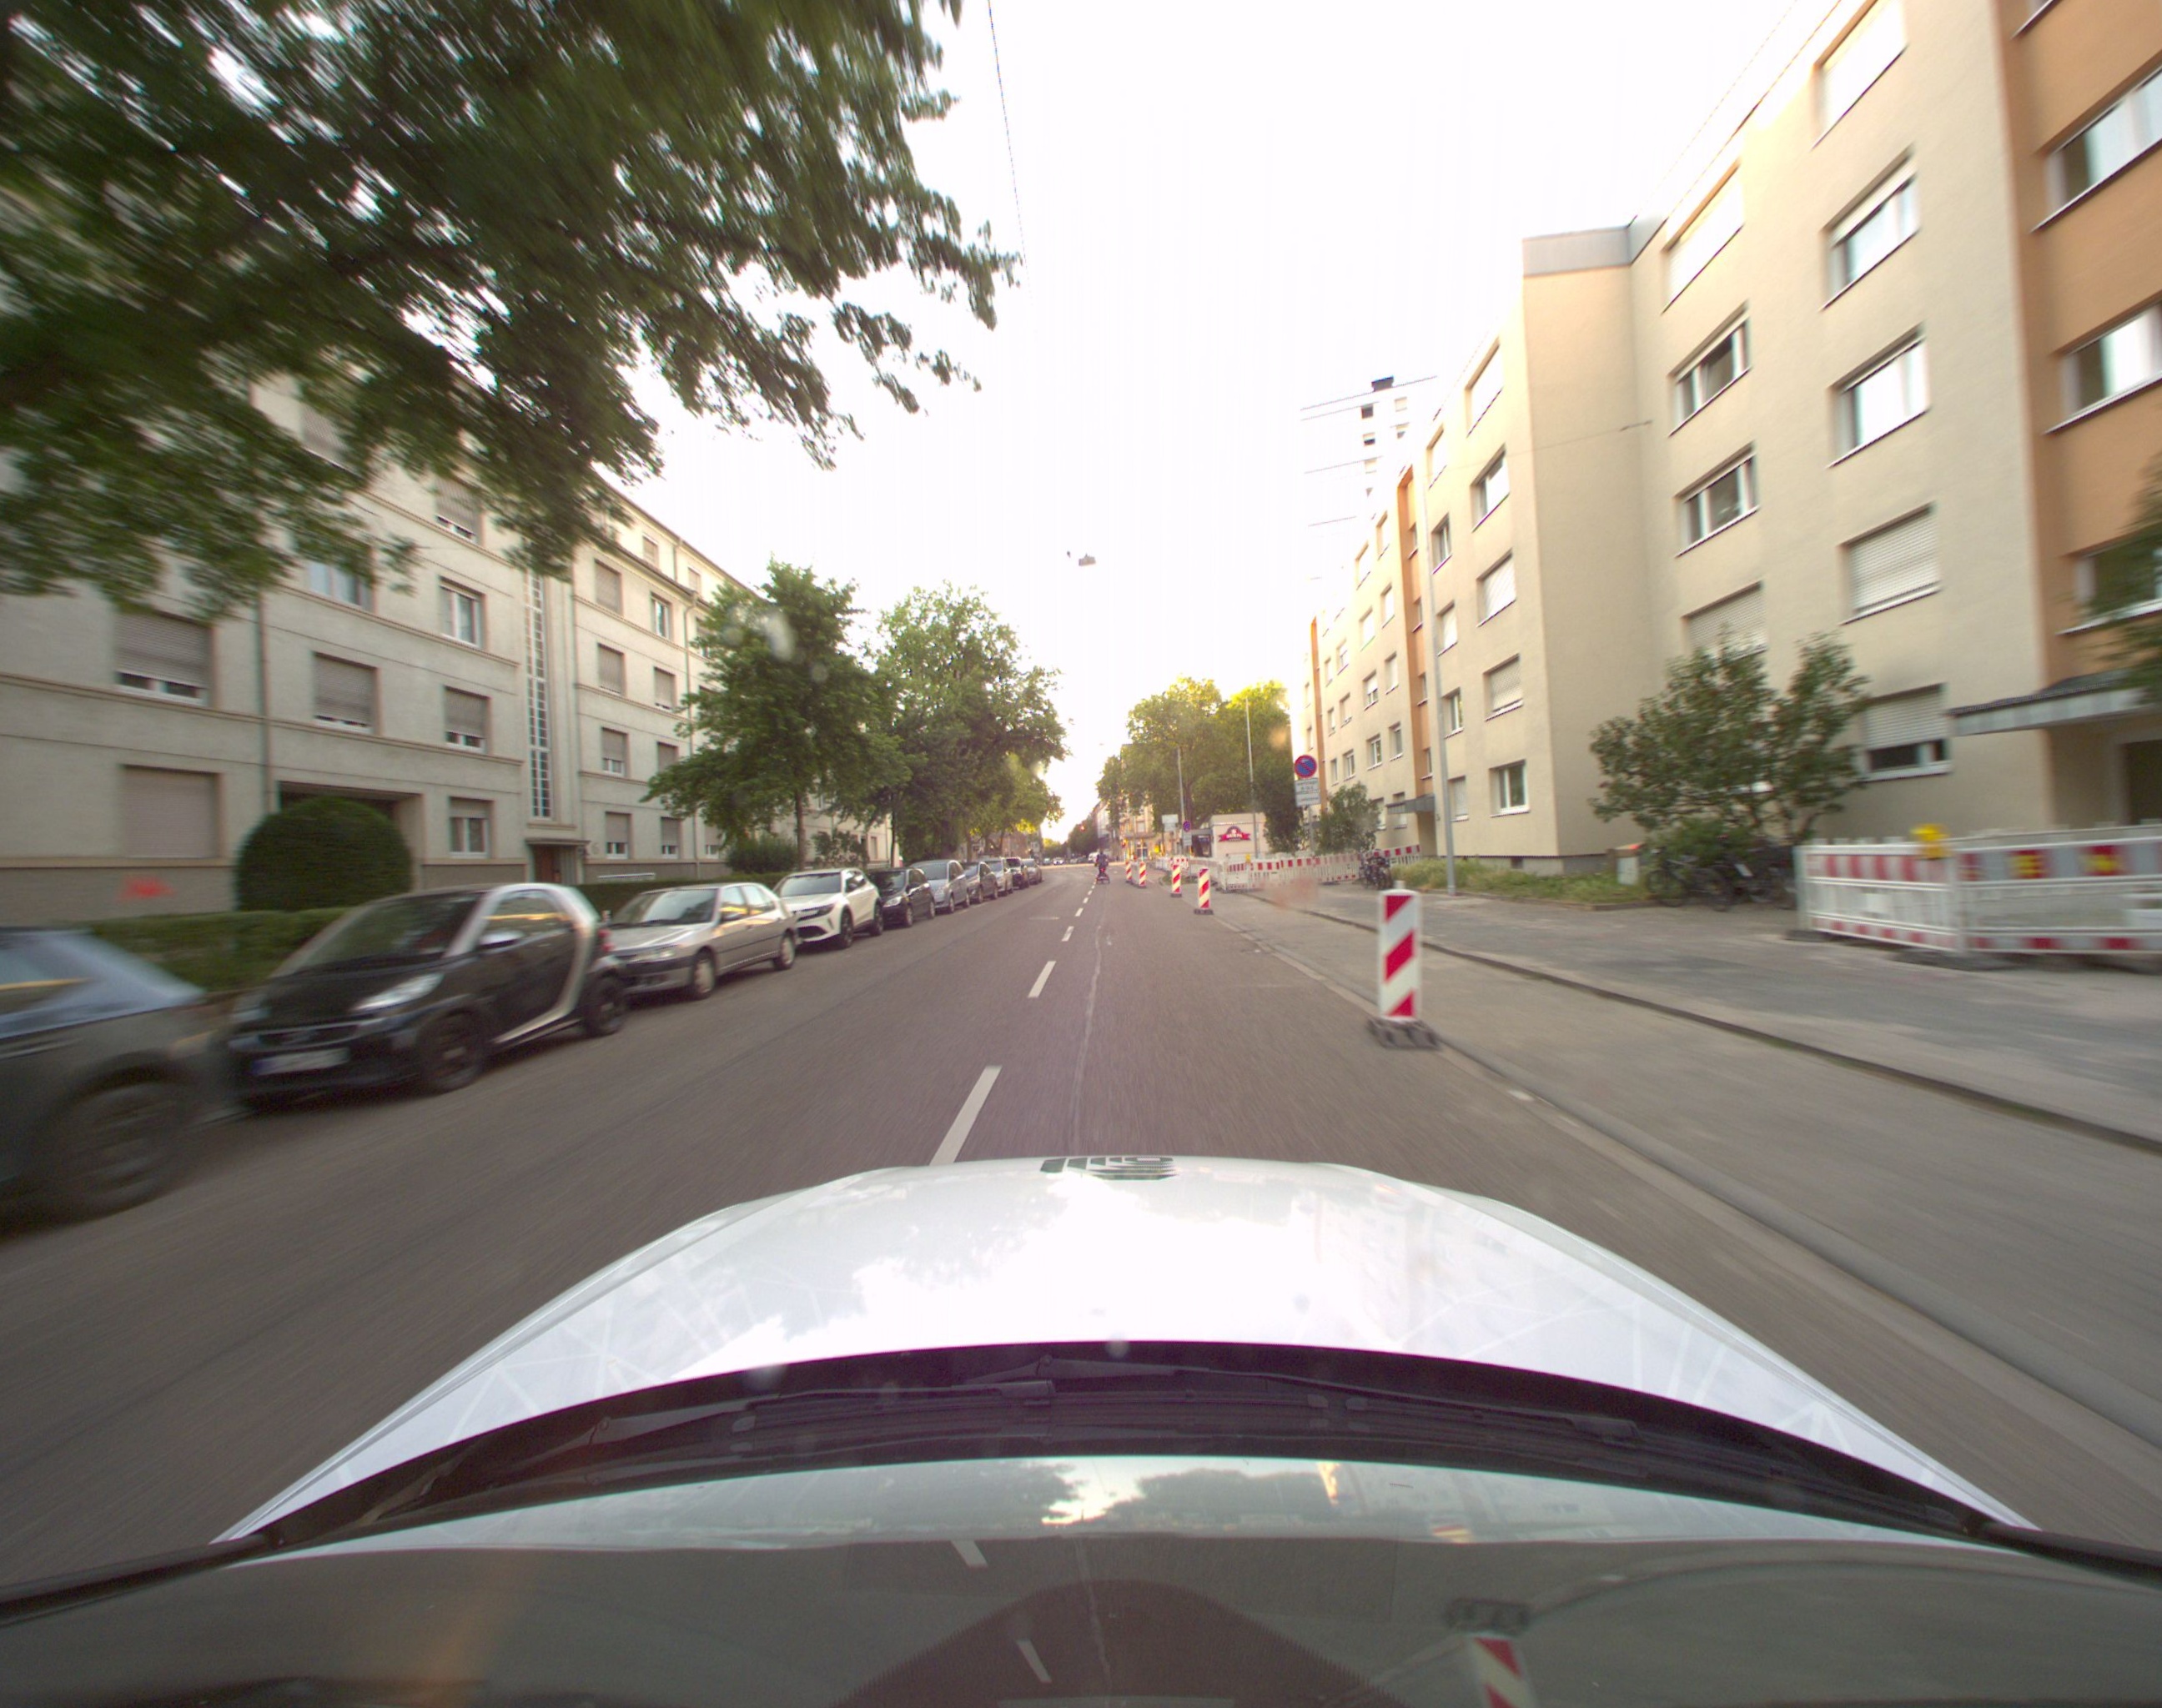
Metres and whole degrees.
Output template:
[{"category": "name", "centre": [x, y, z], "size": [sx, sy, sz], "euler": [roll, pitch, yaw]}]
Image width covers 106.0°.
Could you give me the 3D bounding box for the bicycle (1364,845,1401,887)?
[{"category": "bicycle", "centre": [9.214, 0.361, 24.968], "size": [0.396, 1.222, 1.826], "euler": [-3, 0, 0]}]

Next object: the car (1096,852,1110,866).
[{"category": "car", "centre": [3.044, 0.713, 114.597], "size": [1.860, 1.815, 4.000], "euler": [-4, 0, 0]}]

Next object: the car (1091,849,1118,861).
[{"category": "car", "centre": [5.182, 0.183, 176.813], "size": [5.855, 2.288, 2.047], "euler": [-3, 0, -41]}]

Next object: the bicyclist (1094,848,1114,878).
[{"category": "bicyclist", "centre": [1.286, 0.521, 46.175], "size": [0.936, 1.581, 1.146], "euler": [-6, -1, 0]}]

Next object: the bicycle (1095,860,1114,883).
[{"category": "bicycle", "centre": [1.333, 1.003, 46.148], "size": [0.936, 1.172, 2.359], "euler": [-6, -1, 0]}]

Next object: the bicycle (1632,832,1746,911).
[{"category": "bicycle", "centre": [9.810, 0.260, 13.224], "size": [0.553, 1.172, 1.819], "euler": [-3, 0, 5]}]

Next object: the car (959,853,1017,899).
[{"category": "car", "centre": [-3.970, 0.914, 35.533], "size": [1.841, 1.690, 4.858], "euler": [-5, 0, 0]}]

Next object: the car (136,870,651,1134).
[{"category": "car", "centre": [-5.332, 0.995, 6.910], "size": [1.518, 1.529, 3.164], "euler": [-6, 0, 0]}]

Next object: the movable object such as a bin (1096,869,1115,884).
[{"category": "movable object such as a bin", "centre": [1.335, 1.215, 44.469], "size": [0.936, 0.689, 0.993], "euler": [-6, -1, 0]}]

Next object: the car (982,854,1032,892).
[{"category": "car", "centre": [-3.821, 0.966, 42.789], "size": [1.947, 1.719, 4.772], "euler": [-5, 0, 1]}]

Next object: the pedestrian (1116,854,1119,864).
[{"category": "pedestrian", "centre": [7.050, 0.946, 157.531], "size": [0.590, 1.886, 0.586], "euler": [-3, 0, 5]}]

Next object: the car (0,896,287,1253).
[{"category": "car", "centre": [-5.448, 1.039, 2.636], "size": [1.585, 1.466, 4.101], "euler": [-6, 0, 0]}]

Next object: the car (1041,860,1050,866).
[{"category": "car", "centre": [-9.231, 2.308, 211.186], "size": [1.991, 1.651, 3.813], "euler": [-1, -1, -6]}]

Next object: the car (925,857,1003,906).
[{"category": "car", "centre": [-4.208, 0.961, 30.073], "size": [1.724, 1.497, 4.277], "euler": [-5, 0, 6]}]

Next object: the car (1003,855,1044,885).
[{"category": "car", "centre": [-3.529, 0.977, 50.820], "size": [1.946, 1.616, 4.606], "euler": [-5, 0, 1]}]

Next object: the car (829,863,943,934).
[{"category": "car", "centre": [-4.870, 1.058, 20.860], "size": [1.701, 1.452, 3.845], "euler": [-6, 0, 2]}]

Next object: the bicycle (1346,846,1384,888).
[{"category": "bicycle", "centre": [8.690, 0.377, 24.956], "size": [0.450, 1.222, 1.911], "euler": [-3, 0, 0]}]

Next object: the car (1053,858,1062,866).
[{"category": "car", "centre": [-5.306, 1.830, 181.519], "size": [1.779, 1.651, 3.813], "euler": [-1, -1, -6]}]

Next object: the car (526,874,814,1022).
[{"category": "car", "centre": [-5.275, 1.097, 11.176], "size": [1.584, 1.404, 4.183], "euler": [-6, 0, 2]}]

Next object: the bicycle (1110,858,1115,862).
[{"category": "bicycle", "centre": [6.689, 1.272, 172.679], "size": [0.540, 0.968, 1.929], "euler": [-3, 0, 16]}]

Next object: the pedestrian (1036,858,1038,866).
[{"category": "pedestrian", "centre": [-10.886, 2.026, 201.427], "size": [0.592, 1.886, 0.553], "euler": [-3, 0, -2]}]

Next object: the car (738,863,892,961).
[{"category": "car", "centre": [-5.143, 1.034, 16.377], "size": [1.585, 1.538, 4.205], "euler": [-6, 0, 0]}]

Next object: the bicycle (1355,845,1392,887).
[{"category": "bicycle", "centre": [8.966, 0.369, 25.041], "size": [0.396, 1.222, 1.911], "euler": [-3, 0, 0]}]

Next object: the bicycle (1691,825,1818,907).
[{"category": "bicycle", "centre": [10.517, 0.182, 12.810], "size": [0.553, 1.172, 1.819], "euler": [-3, 0, 5]}]

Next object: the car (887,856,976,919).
[{"category": "car", "centre": [-4.535, 0.964, 25.273], "size": [1.701, 1.600, 4.118], "euler": [-6, 0, 2]}]

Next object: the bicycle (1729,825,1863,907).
[{"category": "bicycle", "centre": [11.113, 0.172, 12.746], "size": [0.553, 1.172, 1.819], "euler": [-3, 0, 5]}]
